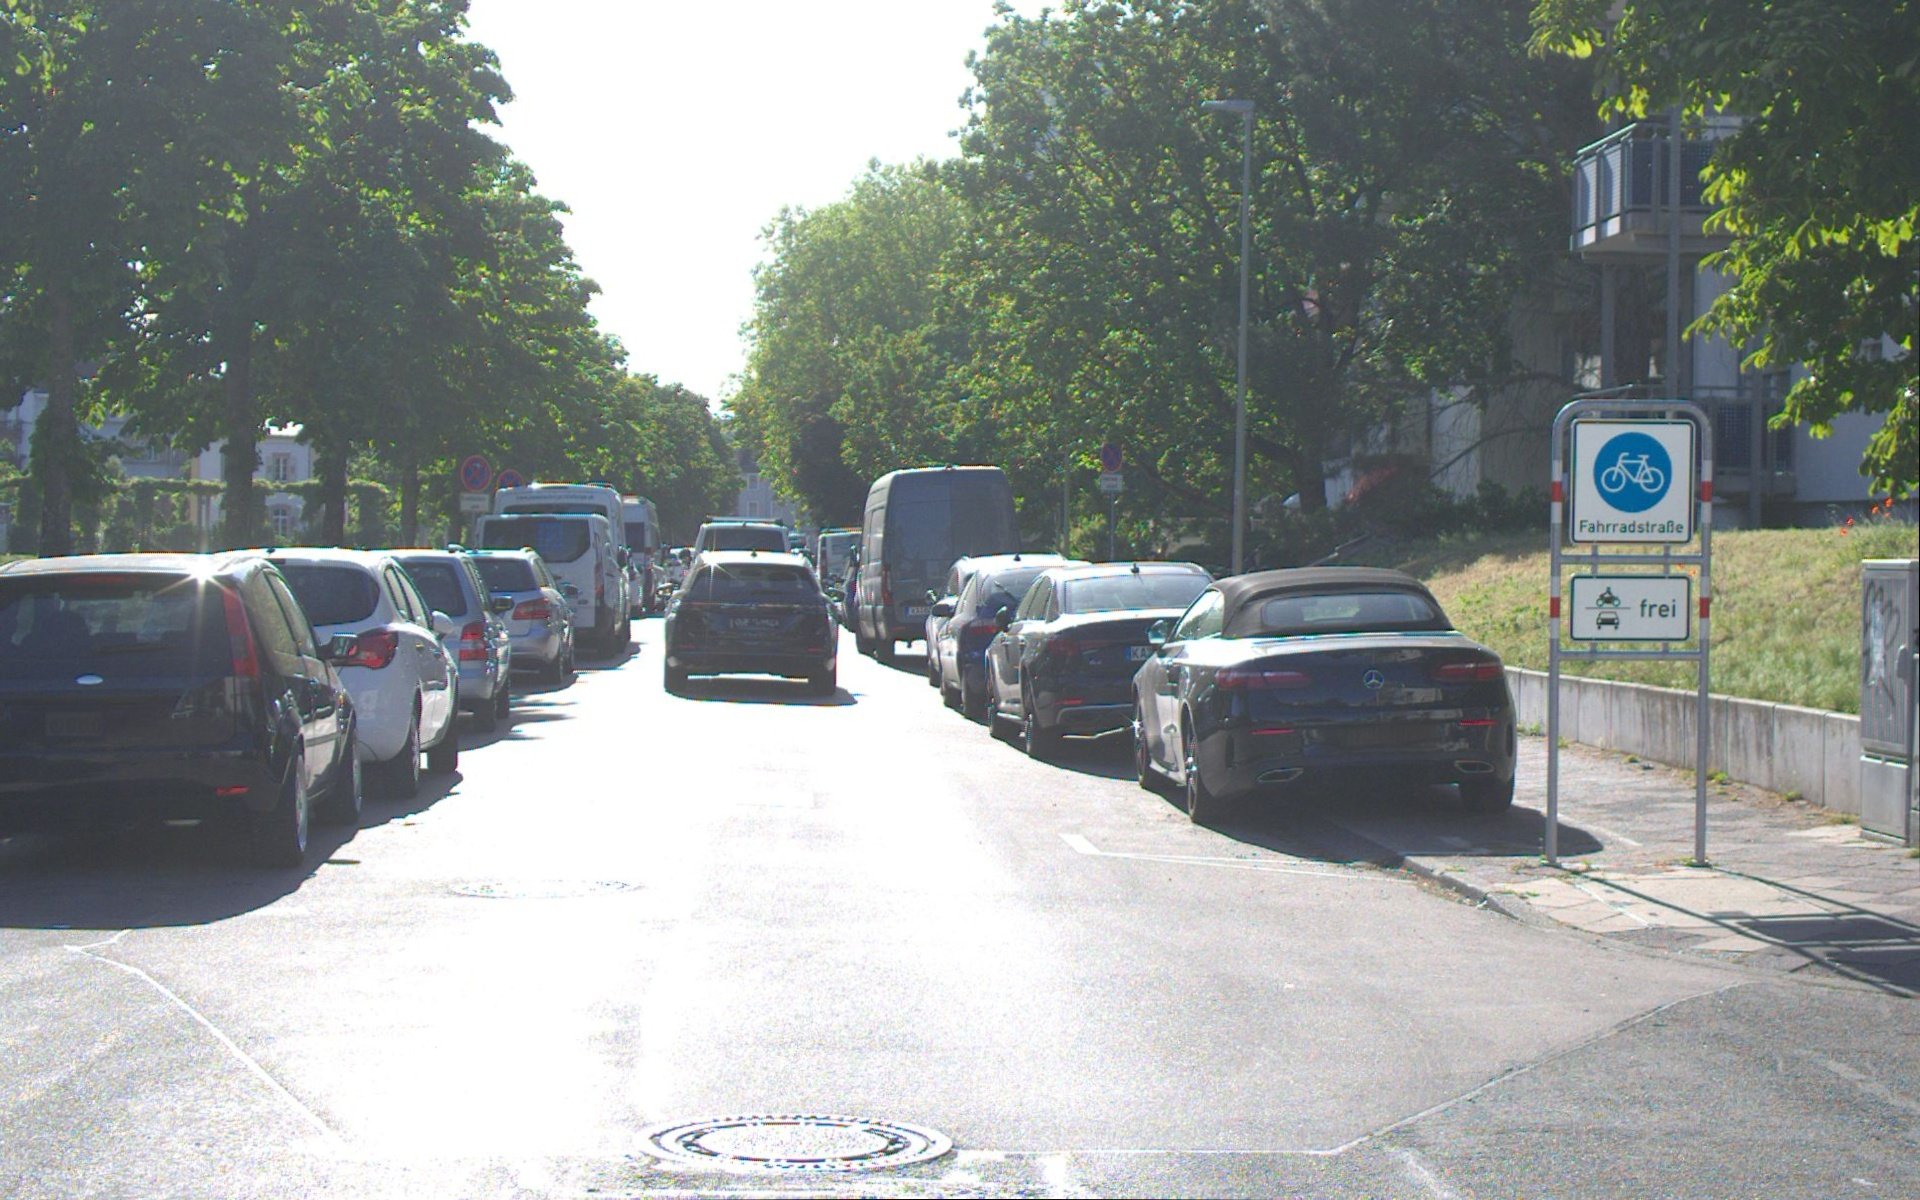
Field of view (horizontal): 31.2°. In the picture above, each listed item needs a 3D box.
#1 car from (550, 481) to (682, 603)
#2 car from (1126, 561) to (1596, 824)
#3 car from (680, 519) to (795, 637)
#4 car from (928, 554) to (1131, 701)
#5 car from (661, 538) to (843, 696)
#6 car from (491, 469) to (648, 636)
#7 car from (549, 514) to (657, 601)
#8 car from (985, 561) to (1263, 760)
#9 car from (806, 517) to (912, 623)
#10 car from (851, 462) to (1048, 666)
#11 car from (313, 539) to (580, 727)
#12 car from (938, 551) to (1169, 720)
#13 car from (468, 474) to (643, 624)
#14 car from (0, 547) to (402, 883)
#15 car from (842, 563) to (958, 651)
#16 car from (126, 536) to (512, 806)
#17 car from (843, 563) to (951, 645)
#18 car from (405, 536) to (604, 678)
[{"bbox_3d":[-7.864,-1.339,79.195,2.616,2.636,6.115,1,1,-2],"label":"car"},{"bbox_3d":[2.273,0.473,20.779,2.125,1.333,4.506,-2,1,-2],"label":"car"},{"bbox_3d":[-3.880,-0.418,60.458,1.894,1.984,4.011,-1,1,-2],"label":"car"},{"bbox_3d":[0.708,0.263,38.113,1.988,1.482,4.127,1,1,-2],"label":"car"},{"bbox_3d":[-2.165,0.138,36.639,1.779,1.526,4.001,2,1,-2],"label":"car"},{"bbox_3d":[-6.061,-0.751,53.798,2.098,2.488,4.127,1,1,-2],"label":"car"},{"bbox_3d":[-7.603,-0.925,73.544,2.010,1.779,4.127,1,1,-2],"label":"car"},{"bbox_3d":[1.191,0.409,26.689,1.779,1.366,4.127,1,1,-2],"label":"car"},{"bbox_3d":[-2.324,-0.712,77.587,2.162,2.285,5.266,1,1,-4],"label":"car"},{"bbox_3d":[-0.222,-0.527,48.182,2.162,2.680,5.418,1,1,-6],"label":"car"},{"bbox_3d":[-4.280,0.224,29.187,1.779,1.456,4.127,1,1,-2],"label":"car"},{"bbox_3d":[0.836,0.293,33.054,1.779,1.482,4.032,1,1,-5],"label":"car"},{"bbox_3d":[-5.526,-0.707,47.404,2.098,1.936,4.127,1,1,-3],"label":"car"},{"bbox_3d":[-3.855,0.489,16.744,1.748,1.420,3.916,-1,0,-2],"label":"car"},{"bbox_3d":[-1.129,0.108,62.349,1.988,1.482,4.127,1,1,-2],"label":"car"},{"bbox_3d":[-3.857,0.383,21.269,1.777,1.490,3.875,-1,0,-2],"label":"car"},{"bbox_3d":[-1.262,0.048,66.813,1.988,1.482,4.127,1,1,-2],"label":"car"},{"bbox_3d":[-5.098,0.039,38.957,1.833,1.495,4.127,1,1,-2],"label":"car"}]
